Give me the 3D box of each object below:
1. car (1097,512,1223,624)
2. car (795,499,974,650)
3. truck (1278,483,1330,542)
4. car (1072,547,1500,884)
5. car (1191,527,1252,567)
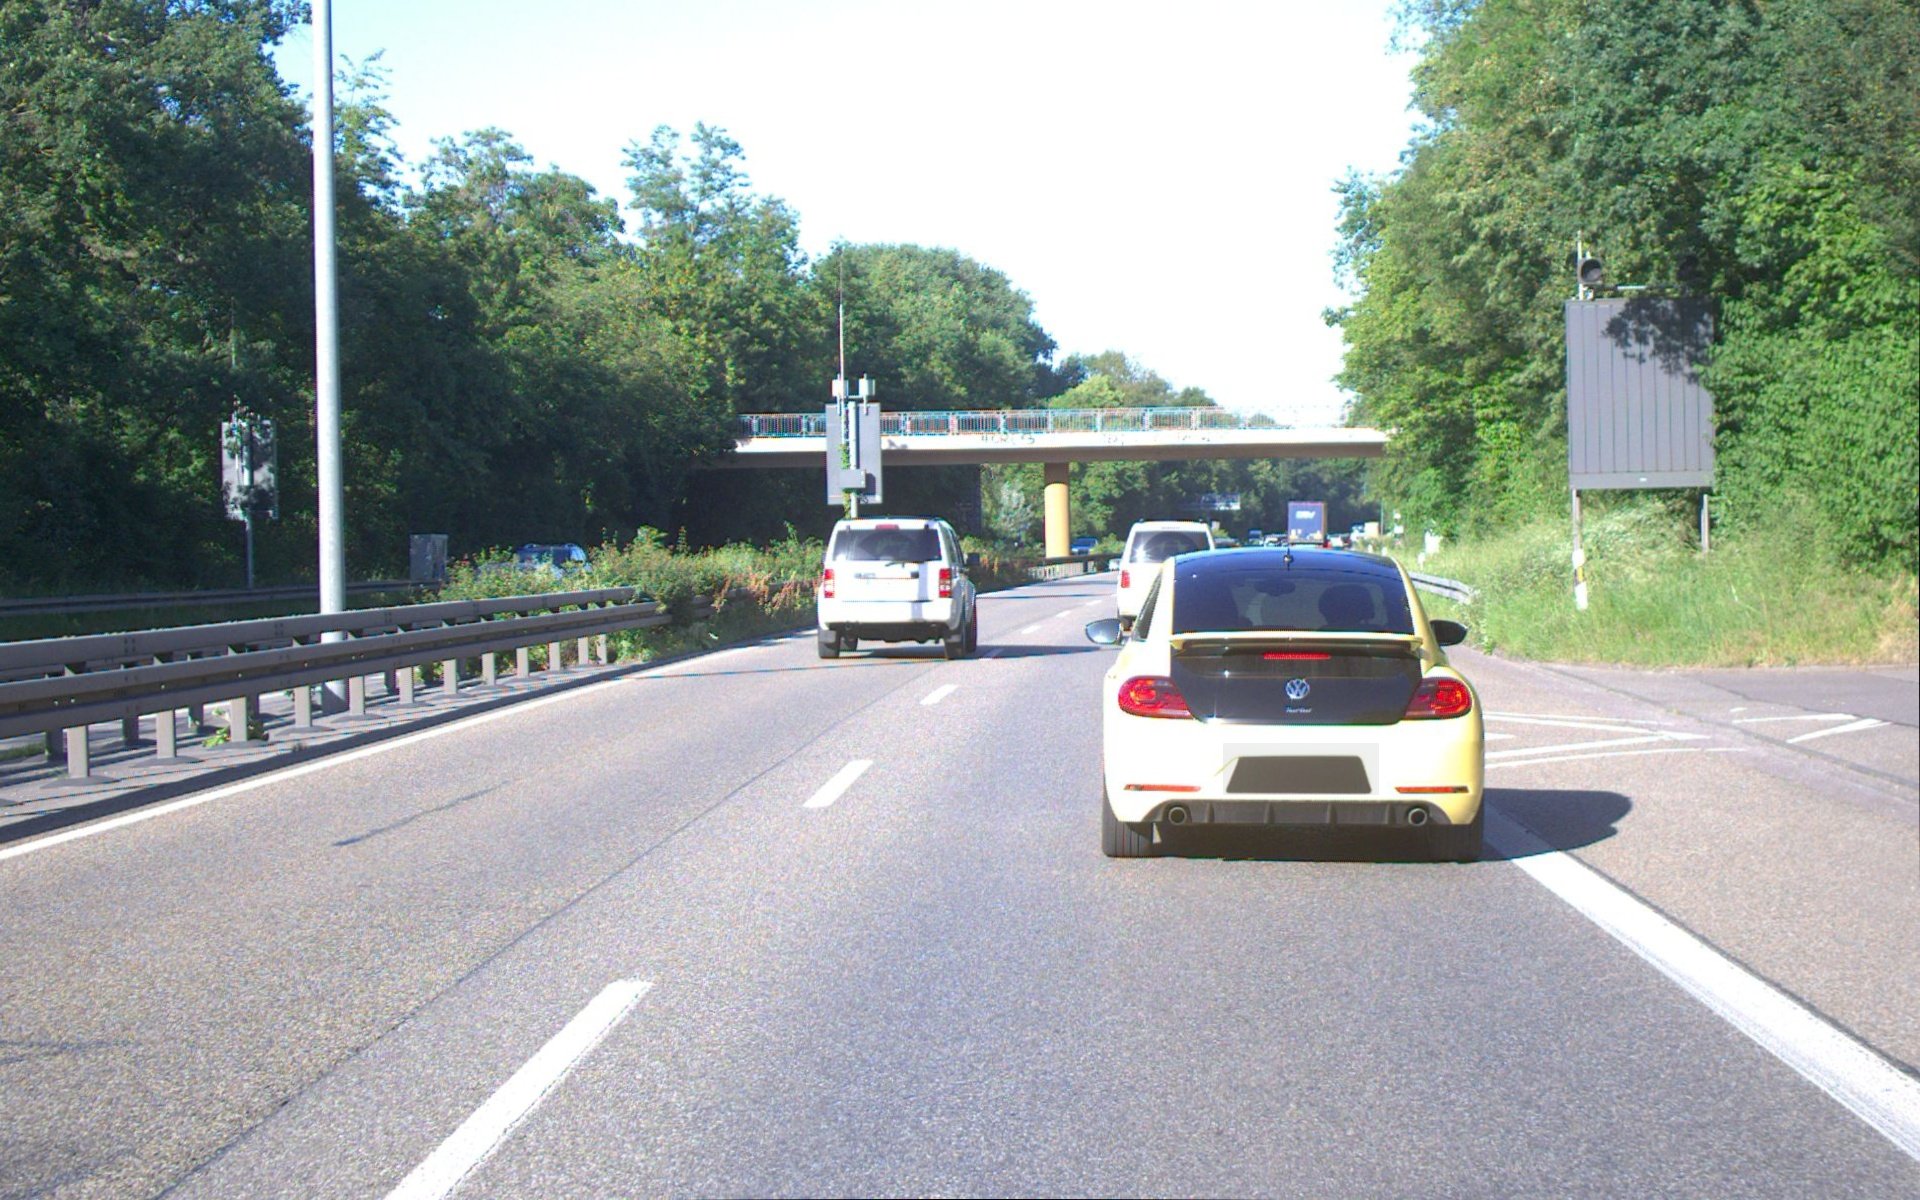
[{"bbox_3d":[3.295,-0.559,57.396,1.863,1.764,4.470,-1,1,1],"label":"car"},{"bbox_3d":[-0.924,-0.352,44.207,2.085,1.822,4.000,1,1,2],"label":"car"},{"bbox_3d":[25.318,-6.393,252.662,3.497,4.158,8.859,-1,1,7],"label":"truck"},{"bbox_3d":[1.520,0.479,17.473,1.879,1.456,4.356,1,1,2],"label":"car"},{"bbox_3d":[9.597,-1.939,125.877,1.994,1.393,3.999,-1,1,7],"label":"car"}]
